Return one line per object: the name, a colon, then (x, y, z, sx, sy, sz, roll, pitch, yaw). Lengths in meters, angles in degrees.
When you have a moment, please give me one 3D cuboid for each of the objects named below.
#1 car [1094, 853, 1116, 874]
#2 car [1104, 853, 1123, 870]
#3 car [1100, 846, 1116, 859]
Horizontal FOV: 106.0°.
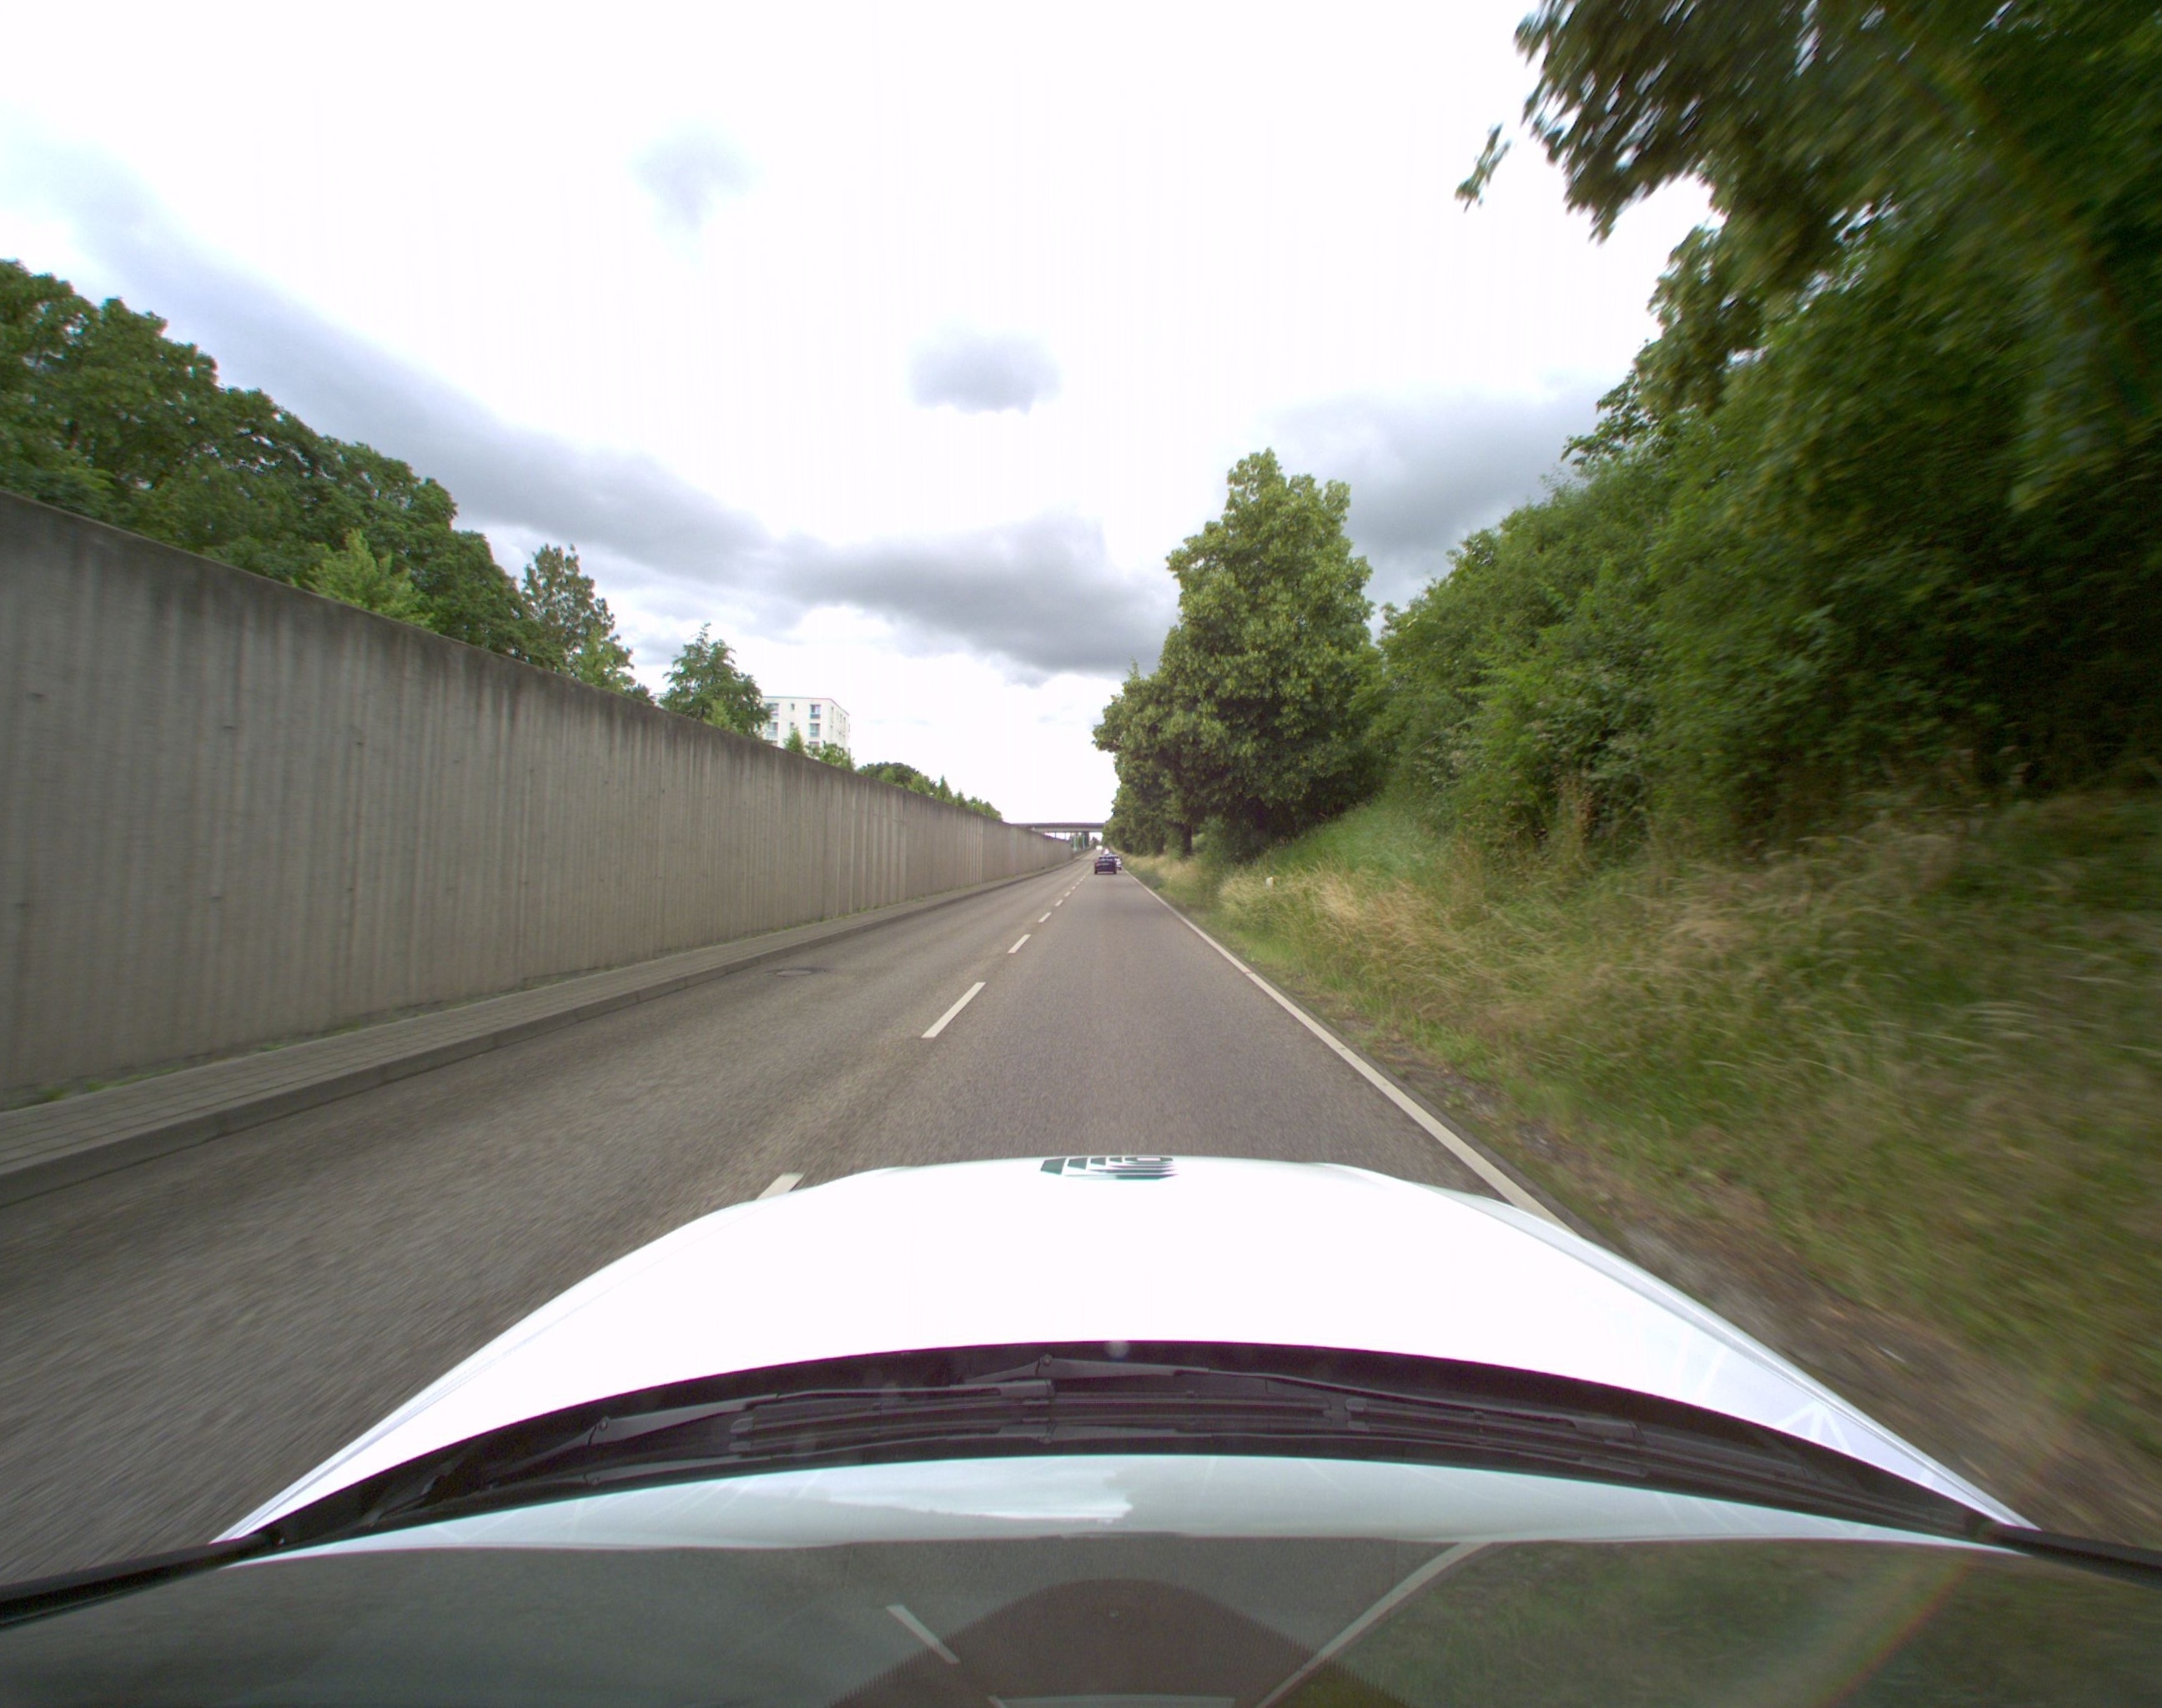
car: (1.919, 0.800, 65.023, 1.748, 1.524, 4.037, 0, -2, 1)
car: (3.158, 0.739, 80.186, 1.748, 1.523, 4.037, -3, -1, 1)
car: (3.274, -0.130, 99.685, 1.860, 1.490, 4.256, 3, 0, 0)
